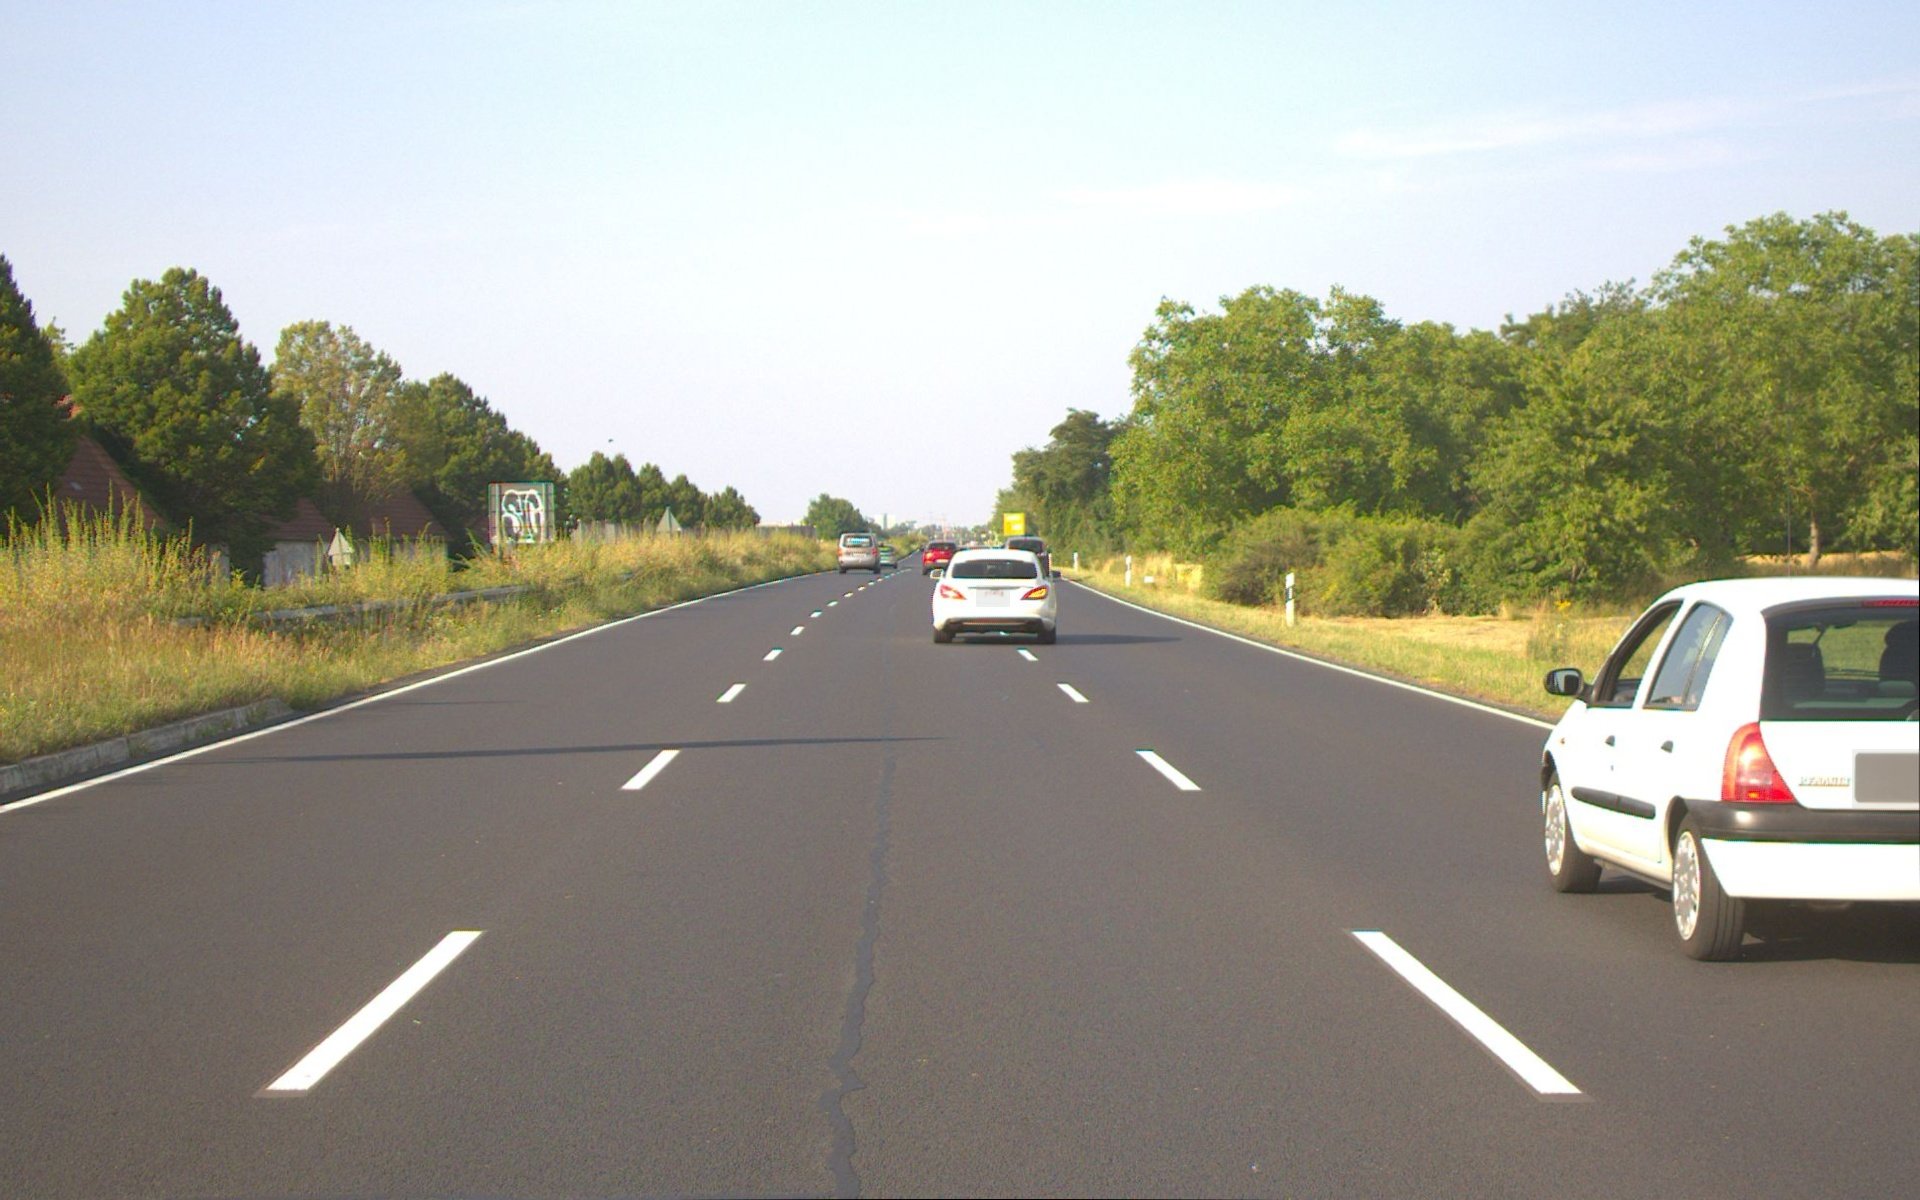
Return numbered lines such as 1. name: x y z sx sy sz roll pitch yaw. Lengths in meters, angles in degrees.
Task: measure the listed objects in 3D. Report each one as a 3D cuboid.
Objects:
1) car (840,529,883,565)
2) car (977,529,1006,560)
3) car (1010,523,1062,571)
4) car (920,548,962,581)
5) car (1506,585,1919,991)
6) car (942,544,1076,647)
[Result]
1. car: -4.596 -2.467 160.960 1.758 1.612 4.000 0 0 2
2. car: 1.984 -3.481 216.807 1.803 1.897 3.559 0 0 1
3. car: 2.807 -1.943 127.675 1.828 1.722 4.000 0 0 0
4. car: -0.846 -1.561 151.900 1.812 1.431 3.858 0 0 -1
5. car: 3.330 0.639 13.758 1.617 1.382 3.951 0 0 0
6. car: 0.732 -0.077 53.221 1.993 1.511 4.000 0 0 0
